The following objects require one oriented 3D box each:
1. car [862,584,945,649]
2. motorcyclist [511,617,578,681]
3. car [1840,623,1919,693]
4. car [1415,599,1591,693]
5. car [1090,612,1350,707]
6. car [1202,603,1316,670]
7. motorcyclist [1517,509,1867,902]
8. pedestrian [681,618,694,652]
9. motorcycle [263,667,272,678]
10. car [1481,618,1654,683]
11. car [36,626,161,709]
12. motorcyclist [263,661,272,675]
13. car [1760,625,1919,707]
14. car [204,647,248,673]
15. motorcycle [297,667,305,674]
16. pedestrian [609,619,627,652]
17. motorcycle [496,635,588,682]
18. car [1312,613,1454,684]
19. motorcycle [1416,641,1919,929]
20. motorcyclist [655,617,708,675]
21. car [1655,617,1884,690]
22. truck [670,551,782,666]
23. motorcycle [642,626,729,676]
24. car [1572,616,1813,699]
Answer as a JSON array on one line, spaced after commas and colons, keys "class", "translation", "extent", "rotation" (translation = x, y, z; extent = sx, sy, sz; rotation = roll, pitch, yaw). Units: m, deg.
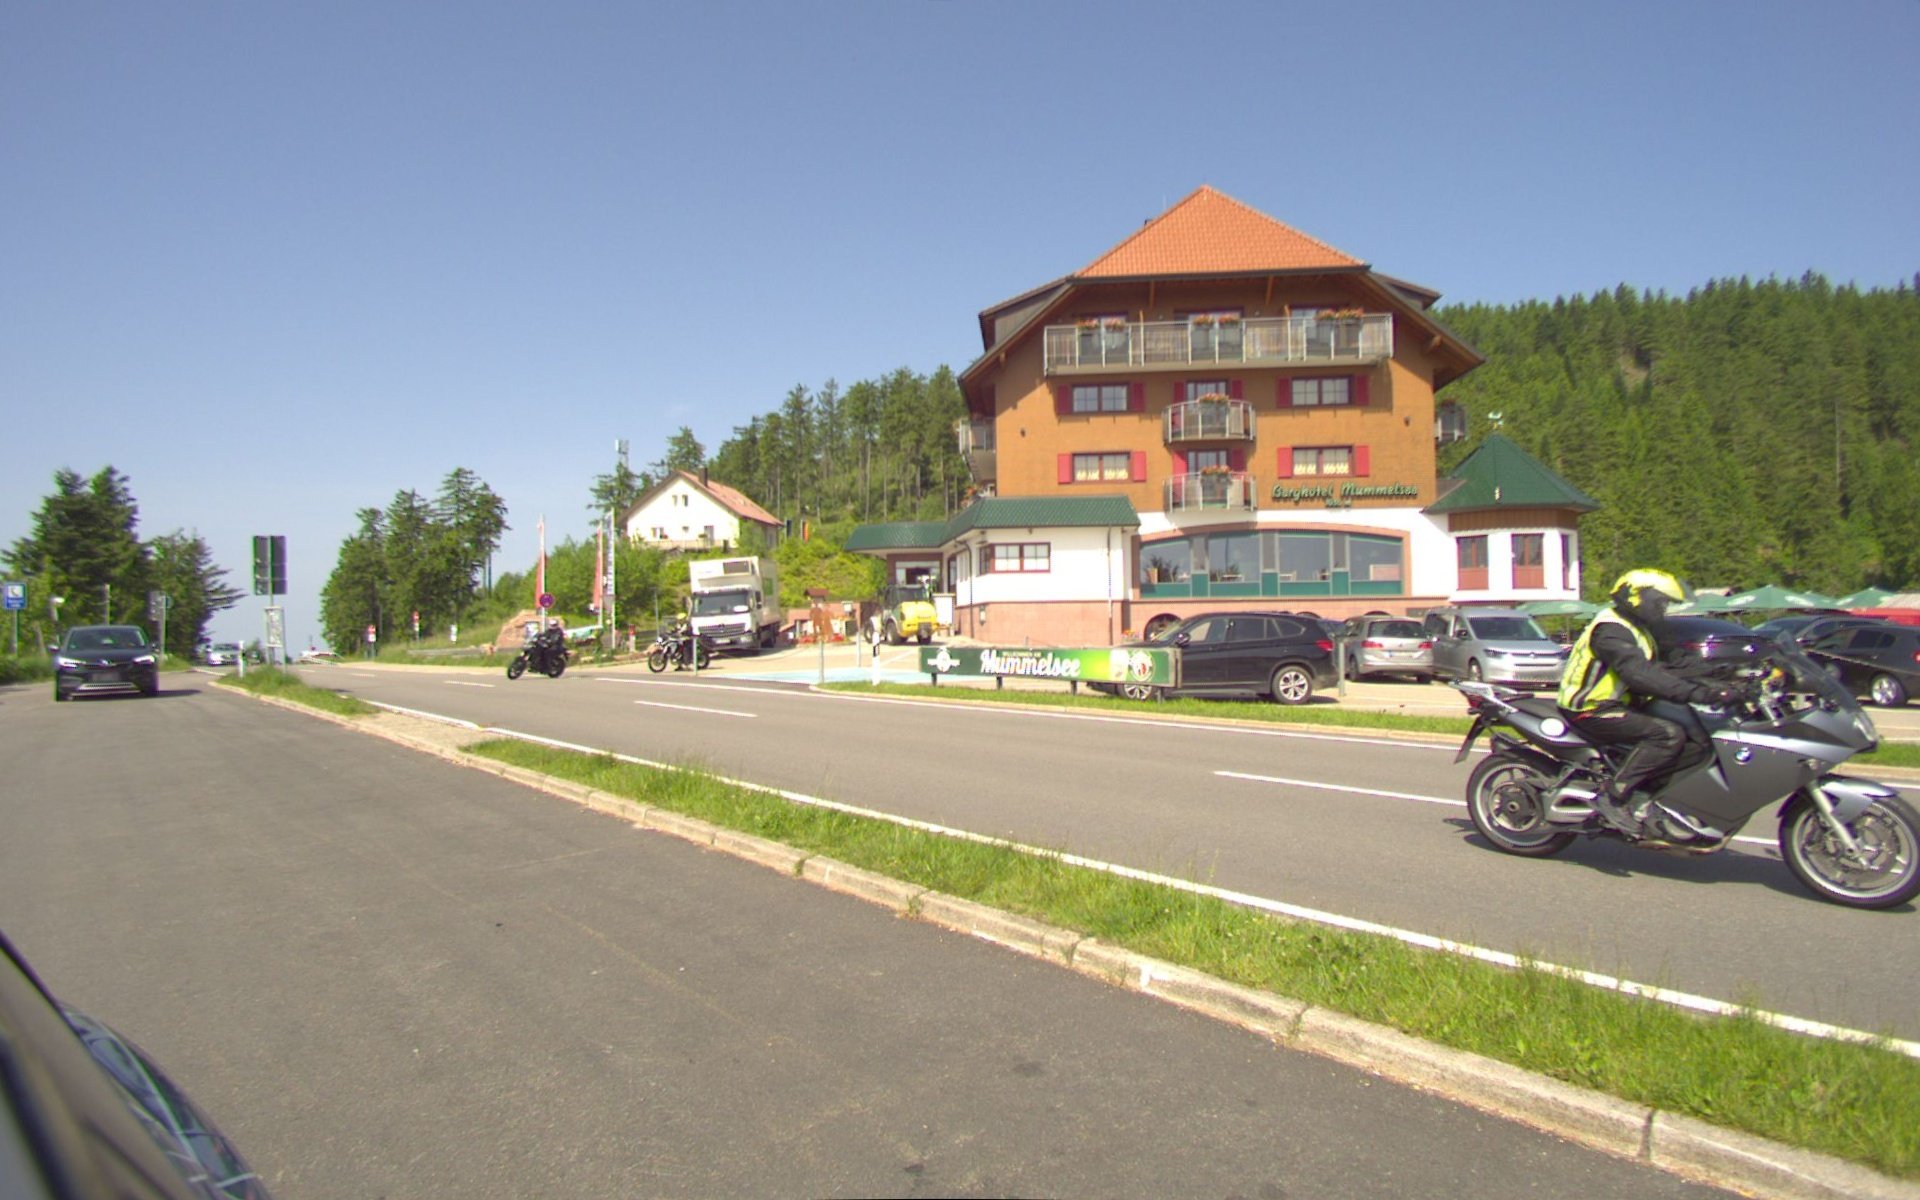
[{"class": "car", "translation": [-2.372, 0.735, 41.415], "extent": [1.965, 2.515, 4.013], "rotation": [1, -3, -25]}, {"class": "motorcyclist", "translation": [-11.701, 1.378, 28.554], "extent": [0.924, 1.731, 1.434], "rotation": [0, -3, 37]}, {"class": "car", "translation": [20.579, 1.183, 20.542], "extent": [1.908, 1.429, 3.998], "rotation": [0, -2, 1]}, {"class": "car", "translation": [12.017, 1.033, 22.780], "extent": [1.812, 1.878, 4.522], "rotation": [-1, -2, 5]}, {"class": "car", "translation": [4.481, 1.040, 17.968], "extent": [4.138, 1.552, 1.805], "rotation": [-1, -3, 4]}, {"class": "car", "translation": [8.109, 0.971, 27.885], "extent": [1.914, 1.676, 4.541], "rotation": [-1, -1, 3]}, {"class": "motorcyclist", "translation": [3.727, 0.468, 5.176], "extent": [1.293, 1.688, 1.014], "rotation": [-2, -2, 44]}, {"class": "pedestrian", "translation": [-13.821, 1.758, 51.358], "extent": [0.566, 1.702, 0.654], "rotation": [0, -3, -5]}, {"class": "motorcycle", "translation": [-84.224, 8.763, 123.063], "extent": [0.800, 1.275, 2.332], "rotation": [2, -3, -36]}, {"class": "car", "translation": [15.134, 1.248, 25.495], "extent": [1.908, 1.494, 3.998], "rotation": [0, -2, 1]}, {"class": "car", "translation": [-18.996, 1.428, 22.367], "extent": [1.955, 1.629, 4.156], "rotation": [0, -2, -40]}, {"class": "motorcyclist", "translation": [-84.125, 8.215, 122.966], "extent": [0.867, 1.654, 1.302], "rotation": [2, -4, -36]}, {"class": "car", "translation": [16.363, 1.125, 17.863], "extent": [1.566, 1.331, 3.637], "rotation": [-1, -2, 1]}, {"class": "car", "translation": [-44.684, 3.644, 61.554], "extent": [1.754, 1.468, 4.005], "rotation": [2, -3, -42]}, {"class": "motorcycle", "translation": [-113.534, 12.128, 174.372], "extent": [0.827, 1.104, 2.190], "rotation": [-3, -1, -25]}, {"class": "pedestrian", "translation": [-17.987, 1.855, 53.236], "extent": [0.688, 1.729, 0.799], "rotation": [0, -3, -6]}, {"class": "motorcycle", "translation": [-11.753, 1.635, 28.544], "extent": [0.878, 1.266, 2.249], "rotation": [0, -2, 37]}, {"class": "car", "translation": [10.157, 1.176, 24.642], "extent": [1.975, 1.557, 3.994], "rotation": [-1, -2, 5]}, {"class": "motorcycle", "translation": [3.683, 0.818, 5.203], "extent": [2.287, 1.186, 0.813], "rotation": [-2, -2, 44]}, {"class": "motorcyclist", "translation": [-8.581, 1.401, 31.205], "extent": [1.229, 1.733, 1.066], "rotation": [0, -1, -41]}, {"class": "car", "translation": [18.029, 1.175, 22.825], "extent": [1.908, 1.494, 3.998], "rotation": [0, -2, 1]}, {"class": "truck", "translation": [-9.225, 0.295, 40.993], "extent": [3.024, 4.002, 8.781], "rotation": [-3, 0, -5]}, {"class": "motorcycle", "translation": [-8.471, 1.549, 31.324], "extent": [2.407, 1.417, 1.007], "rotation": [0, -1, -41]}, {"class": "car", "translation": [14.185, 1.105, 19.944], "extent": [1.889, 1.441, 3.996], "rotation": [-1, -2, 3]}]
